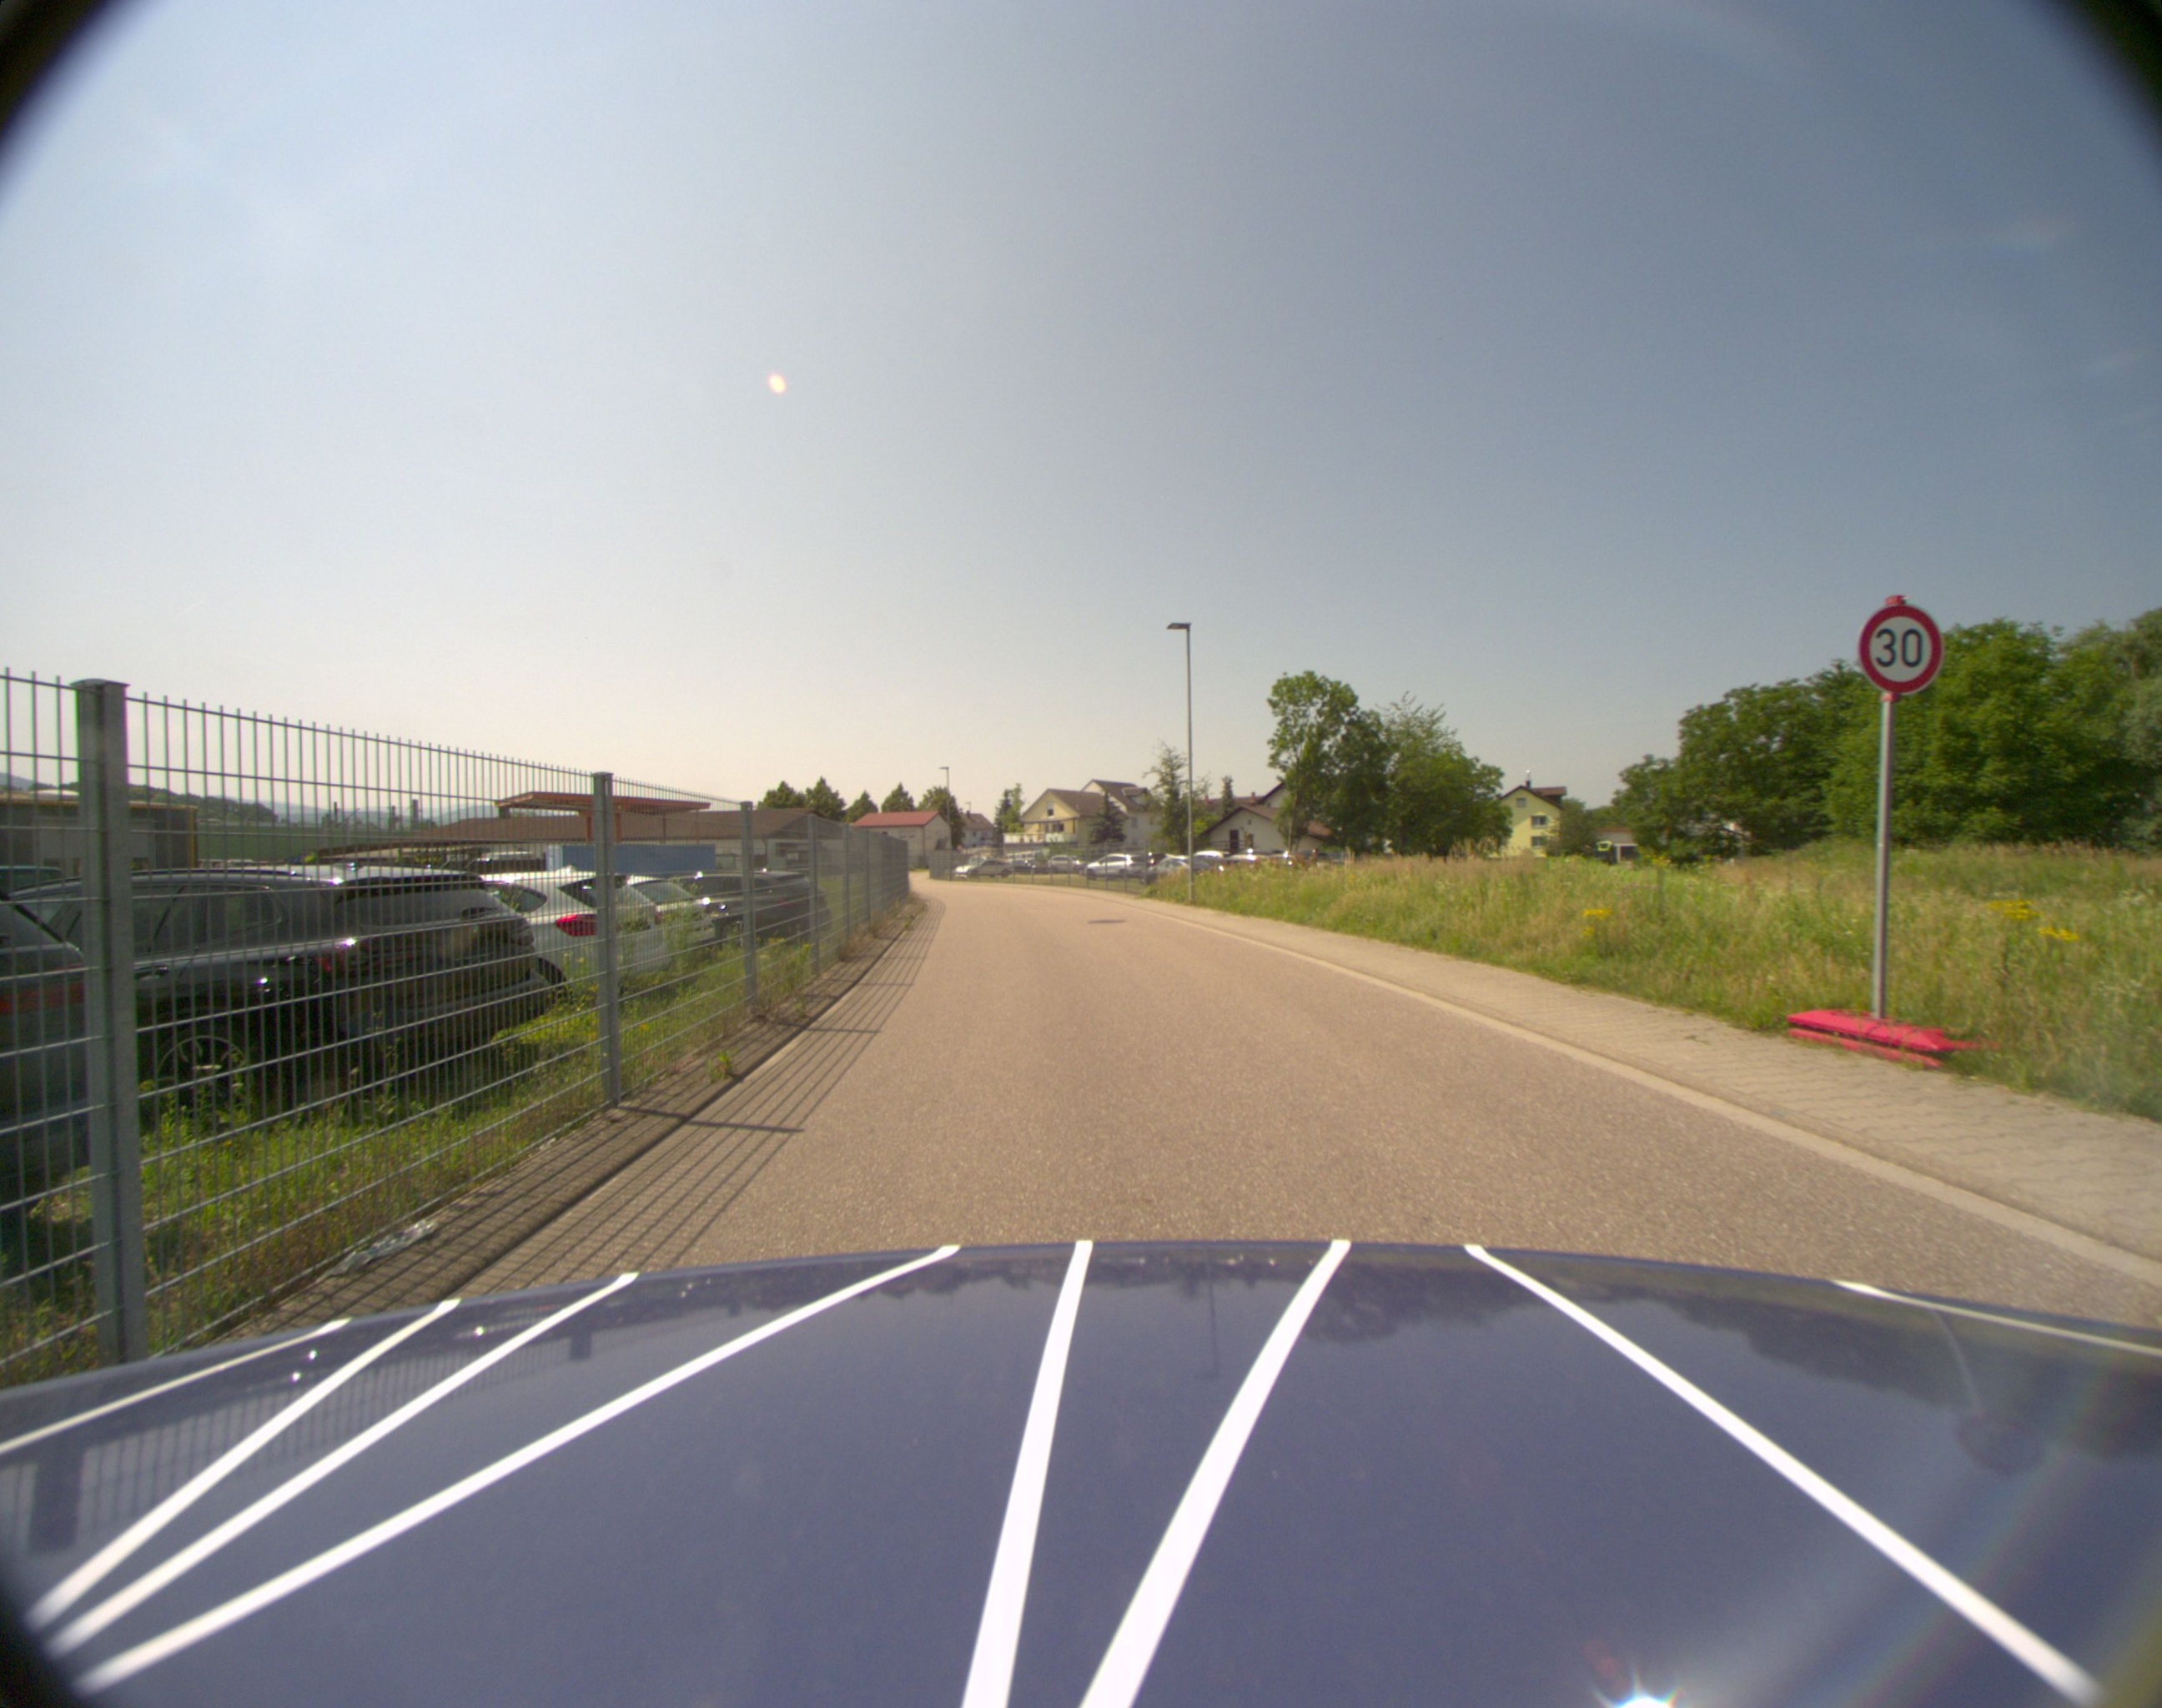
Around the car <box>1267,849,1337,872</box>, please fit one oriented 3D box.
[{"bbox_3d":[13.628,0.388,46.983,3.735,1.309,1.824,-1,1,44],"label":"car"}]

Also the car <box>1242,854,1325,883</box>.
[{"bbox_3d":[11.308,0.796,42.468,3.988,1.489,2.004,-1,0,43],"label":"car"}]

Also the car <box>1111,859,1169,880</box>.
[{"bbox_3d":[3.839,1.000,49.770,3.636,1.239,1.585,-1,1,43],"label":"car"}]

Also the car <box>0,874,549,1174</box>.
[{"bbox_3d":[-6.330,0.987,5.046,4.307,1.594,1.692,-1,0,-3],"label":"car"}]

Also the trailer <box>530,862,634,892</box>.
[{"bbox_3d":[-28.375,1.307,43.316,1.764,1.556,4.628,-3,-2,40],"label":"trailer"}]

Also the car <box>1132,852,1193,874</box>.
[{"bbox_3d":[5.889,0.623,55.108,3.988,1.489,2.004,-1,0,43],"label":"car"}]

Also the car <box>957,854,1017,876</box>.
[{"bbox_3d":[-7.266,0.826,58.677,4.396,1.561,1.823,-2,1,-15],"label":"car"}]

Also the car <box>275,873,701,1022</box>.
[{"bbox_3d":[-6.370,0.957,8.471,3.475,1.409,1.516,-1,0,-3],"label":"car"}]

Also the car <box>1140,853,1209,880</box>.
[{"bbox_3d":[5.124,0.689,41.833,3.452,1.411,1.585,-1,1,43],"label":"car"}]

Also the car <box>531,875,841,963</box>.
[{"bbox_3d":[-6.565,1.071,12.924,4.385,1.310,1.719,-1,0,3],"label":"car"}]

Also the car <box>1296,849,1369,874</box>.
[{"bbox_3d":[16.166,0.485,48.888,3.988,1.489,2.004,-1,0,43],"label":"car"}]

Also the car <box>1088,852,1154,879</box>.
[{"bbox_3d":[2.306,0.660,44.311,3.636,1.481,1.585,-1,1,43],"label":"car"}]

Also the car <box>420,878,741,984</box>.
[{"bbox_3d":[-6.943,1.048,10.775,3.473,1.310,1.642,-1,0,3],"label":"car"}]

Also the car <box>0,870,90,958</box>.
[{"bbox_3d":[-26.478,1.395,18.096,4.382,1.970,1.844,-1,0,14],"label":"car"}]

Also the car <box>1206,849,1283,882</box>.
[{"bbox_3d":[8.186,0.585,38.262,3.452,1.575,1.585,-1,1,43],"label":"car"}]

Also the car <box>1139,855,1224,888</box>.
[{"bbox_3d":[4.419,0.730,34.035,1.584,1.326,4.395,-1,0,-26],"label":"car"}]

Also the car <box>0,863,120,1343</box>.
[{"bbox_3d":[-6.330,0.951,2.252,4.697,1.759,1.742,-1,0,0],"label":"car"}]

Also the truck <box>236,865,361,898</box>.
[{"bbox_3d":[-47.069,1.611,45.862,2.057,1.787,4.806,-1,0,16],"label":"truck"}]

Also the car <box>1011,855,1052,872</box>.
[{"bbox_3d":[-4.672,0.889,71.812,3.673,1.455,1.824,-1,1,44],"label":"car"}]

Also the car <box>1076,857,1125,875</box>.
[{"bbox_3d":[1.512,0.916,59.034,3.399,1.309,1.824,-1,1,44],"label":"car"}]
